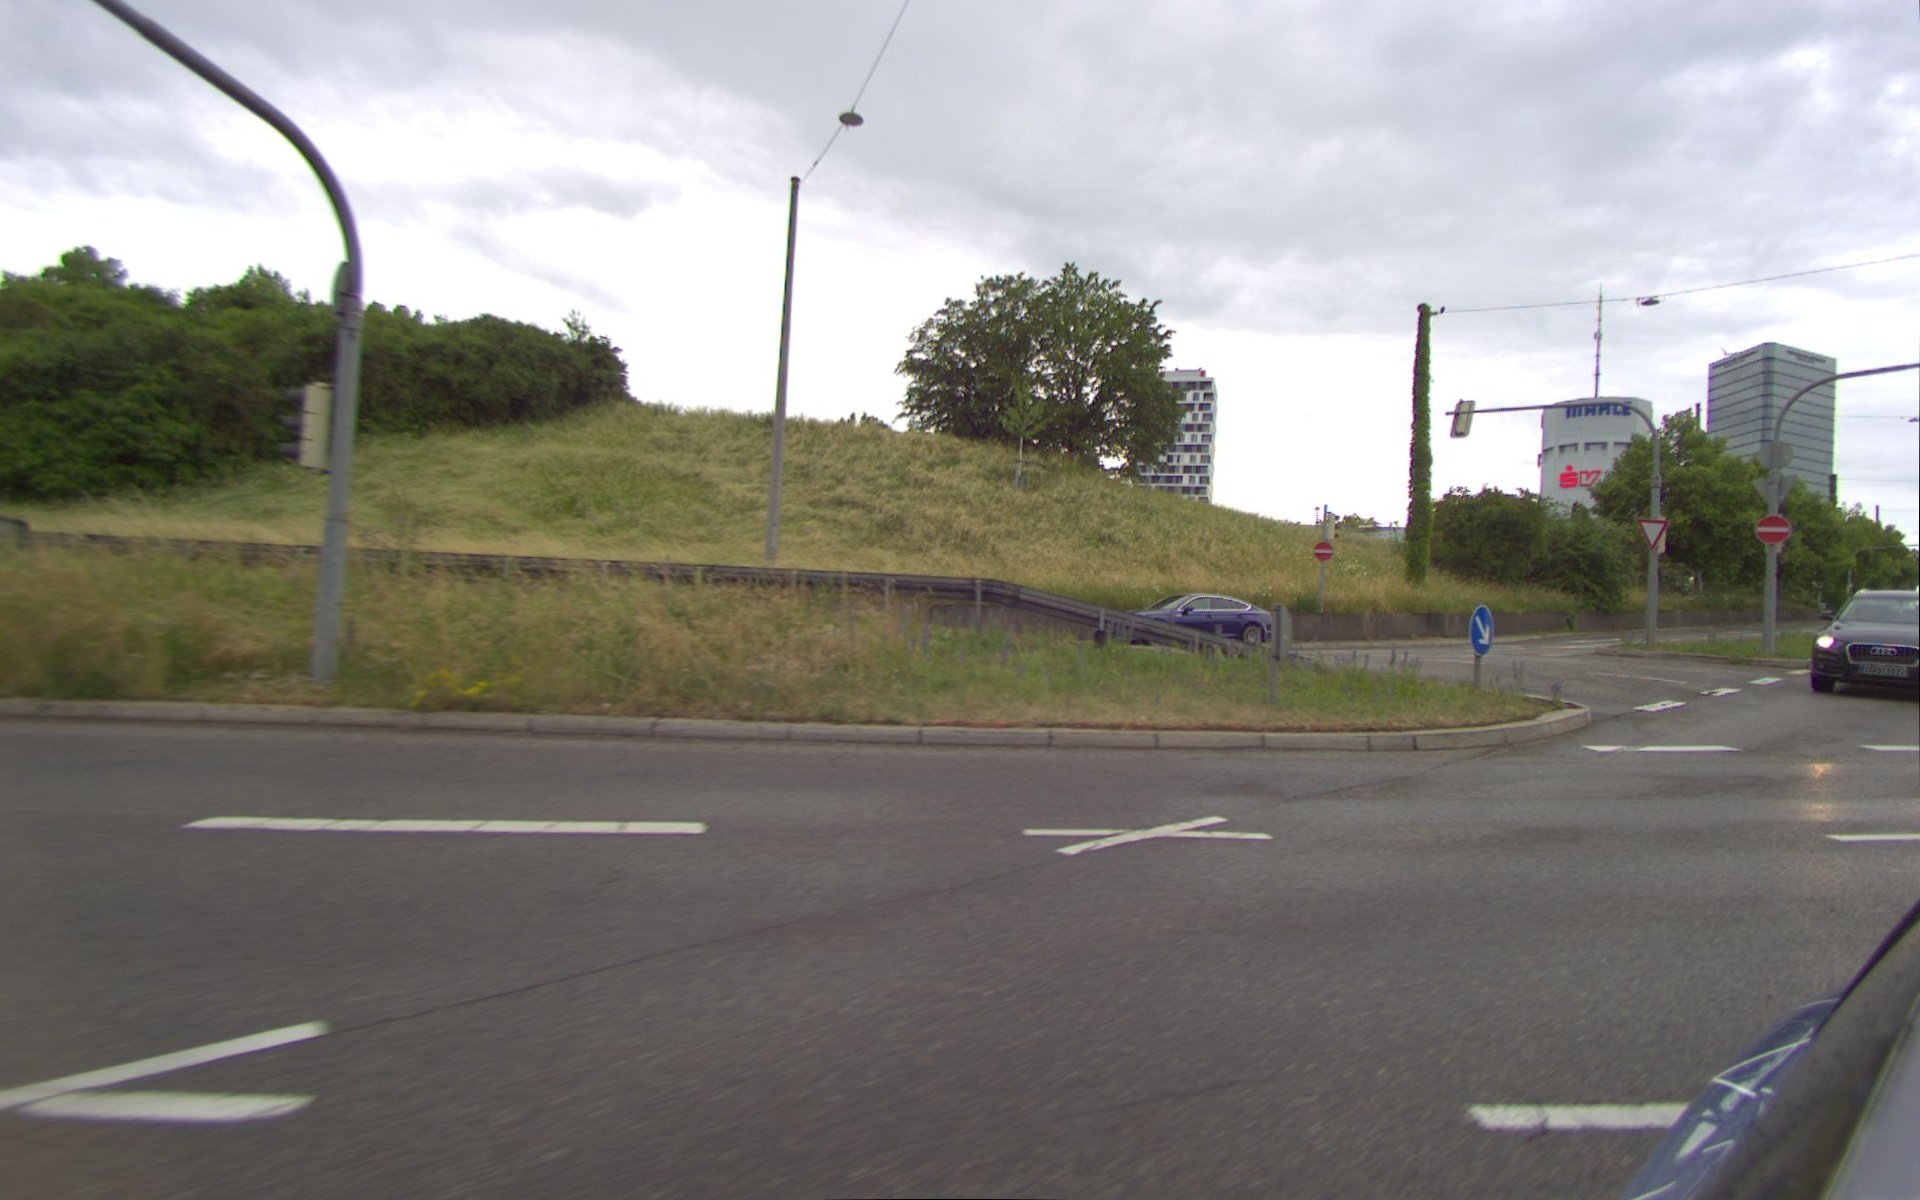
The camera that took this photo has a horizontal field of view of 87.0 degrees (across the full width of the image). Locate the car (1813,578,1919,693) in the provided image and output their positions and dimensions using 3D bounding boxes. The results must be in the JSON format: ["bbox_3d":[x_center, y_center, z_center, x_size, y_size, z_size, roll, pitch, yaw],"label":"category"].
[{"bbox_3d":[14.943,0.524,15.800,4.205,1.621,1.925,1,0,-42],"label":"car"}]

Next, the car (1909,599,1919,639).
[{"bbox_3d":[51.013,0.990,52.713,3.931,2.039,1.996,1,0,-42],"label":"car"}]

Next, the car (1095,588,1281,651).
[{"bbox_3d":[5.524,0.471,24.508,4.139,1.367,1.787,1,1,-24],"label":"car"}]

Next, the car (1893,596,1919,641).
[{"bbox_3d":[46.261,0.885,48.422,3.931,2.039,1.996,1,0,-42],"label":"car"}]

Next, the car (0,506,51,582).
[{"bbox_3d":[-19.611,-1.066,18.473,4.139,1.367,1.787,1,0,-11],"label":"car"}]
